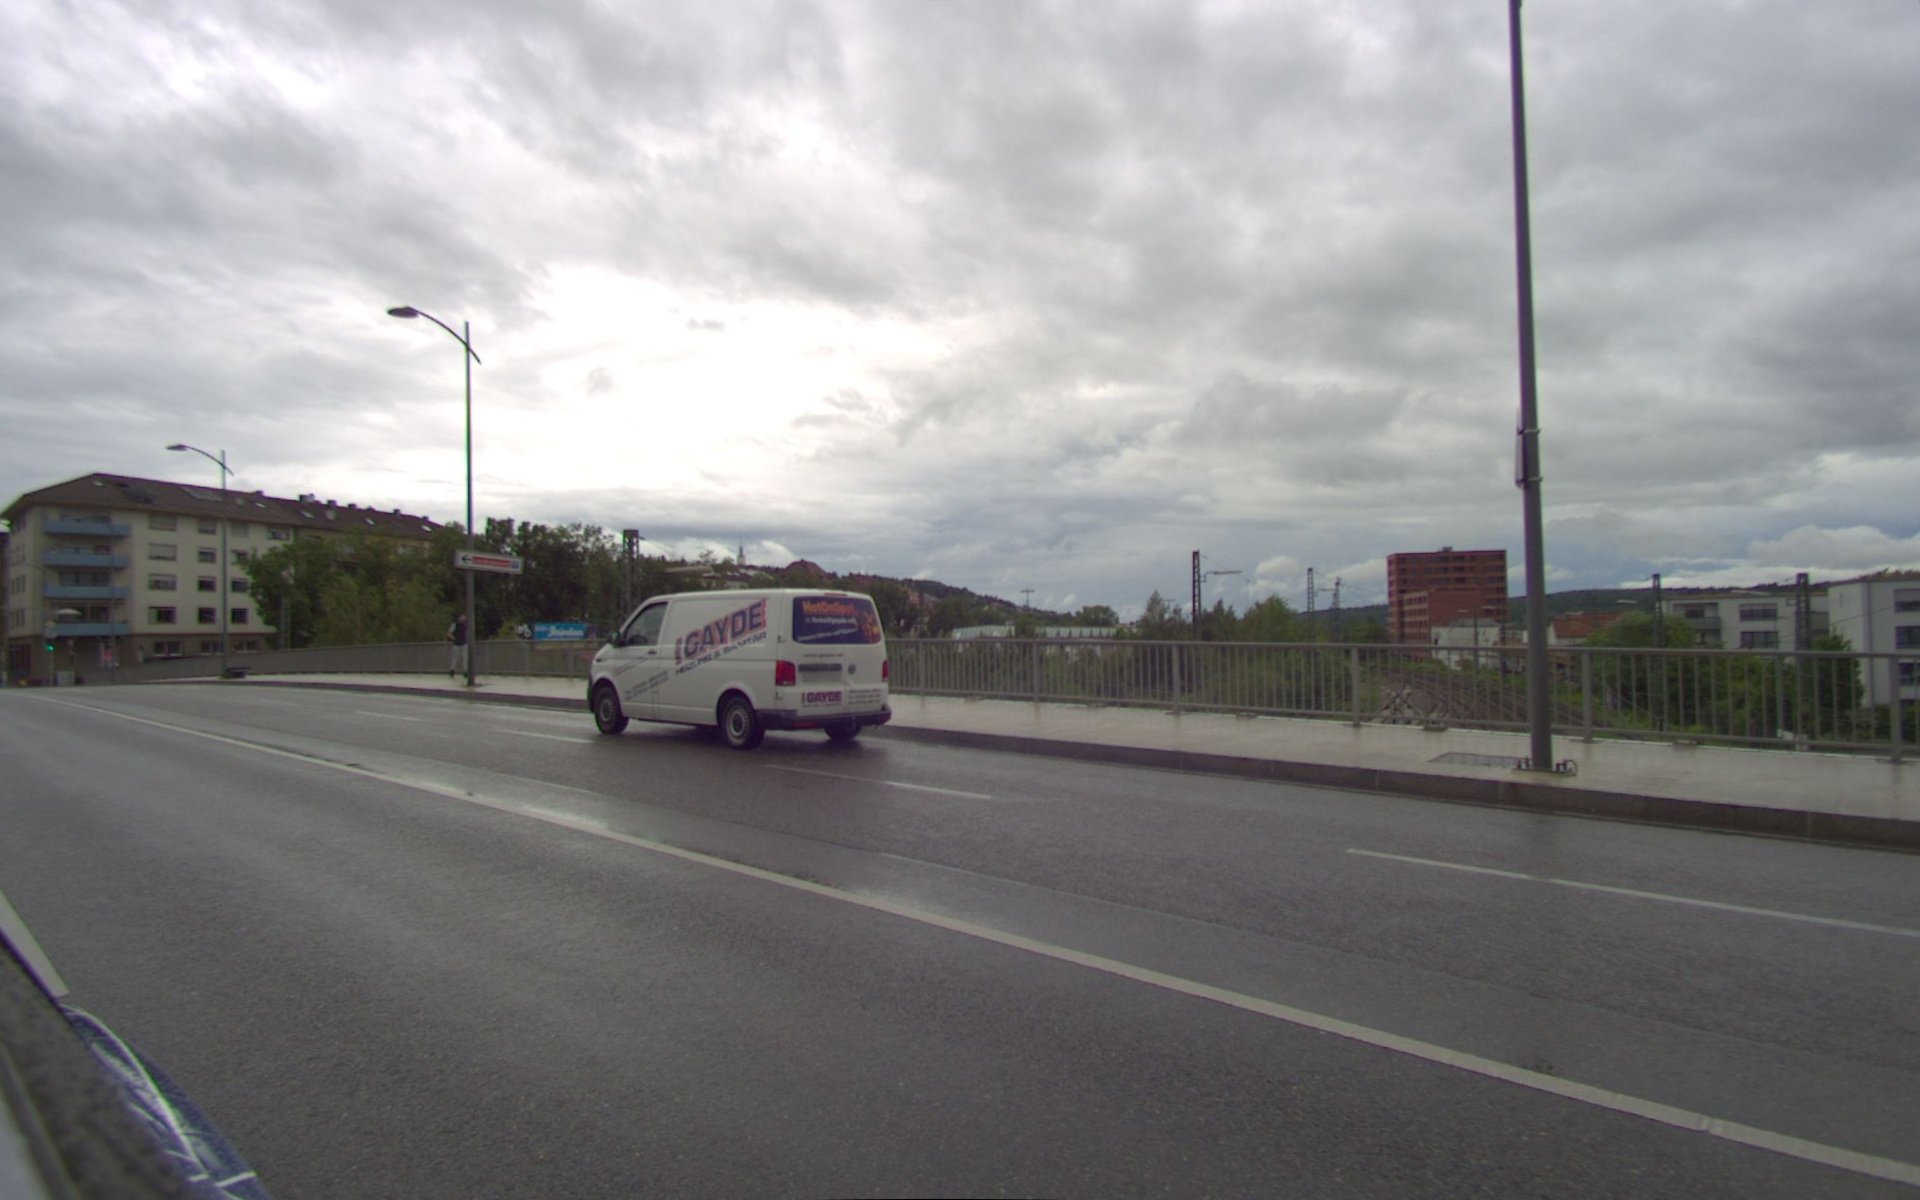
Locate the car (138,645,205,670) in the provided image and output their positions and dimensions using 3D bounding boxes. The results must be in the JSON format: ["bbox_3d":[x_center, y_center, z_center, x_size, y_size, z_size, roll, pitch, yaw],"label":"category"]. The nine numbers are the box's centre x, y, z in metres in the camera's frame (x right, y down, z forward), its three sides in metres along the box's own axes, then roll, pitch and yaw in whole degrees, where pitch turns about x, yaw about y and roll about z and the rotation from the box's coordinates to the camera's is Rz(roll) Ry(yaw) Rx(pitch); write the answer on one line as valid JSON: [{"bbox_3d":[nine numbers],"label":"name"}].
[{"bbox_3d":[-71.730,5.240,92.126,2.119,2.029,4.325,-3,-2,20],"label":"car"}]

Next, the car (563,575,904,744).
[{"bbox_3d":[-3.153,0.853,13.420,4.957,1.836,1.866,-4,-7,42],"label":"car"}]
